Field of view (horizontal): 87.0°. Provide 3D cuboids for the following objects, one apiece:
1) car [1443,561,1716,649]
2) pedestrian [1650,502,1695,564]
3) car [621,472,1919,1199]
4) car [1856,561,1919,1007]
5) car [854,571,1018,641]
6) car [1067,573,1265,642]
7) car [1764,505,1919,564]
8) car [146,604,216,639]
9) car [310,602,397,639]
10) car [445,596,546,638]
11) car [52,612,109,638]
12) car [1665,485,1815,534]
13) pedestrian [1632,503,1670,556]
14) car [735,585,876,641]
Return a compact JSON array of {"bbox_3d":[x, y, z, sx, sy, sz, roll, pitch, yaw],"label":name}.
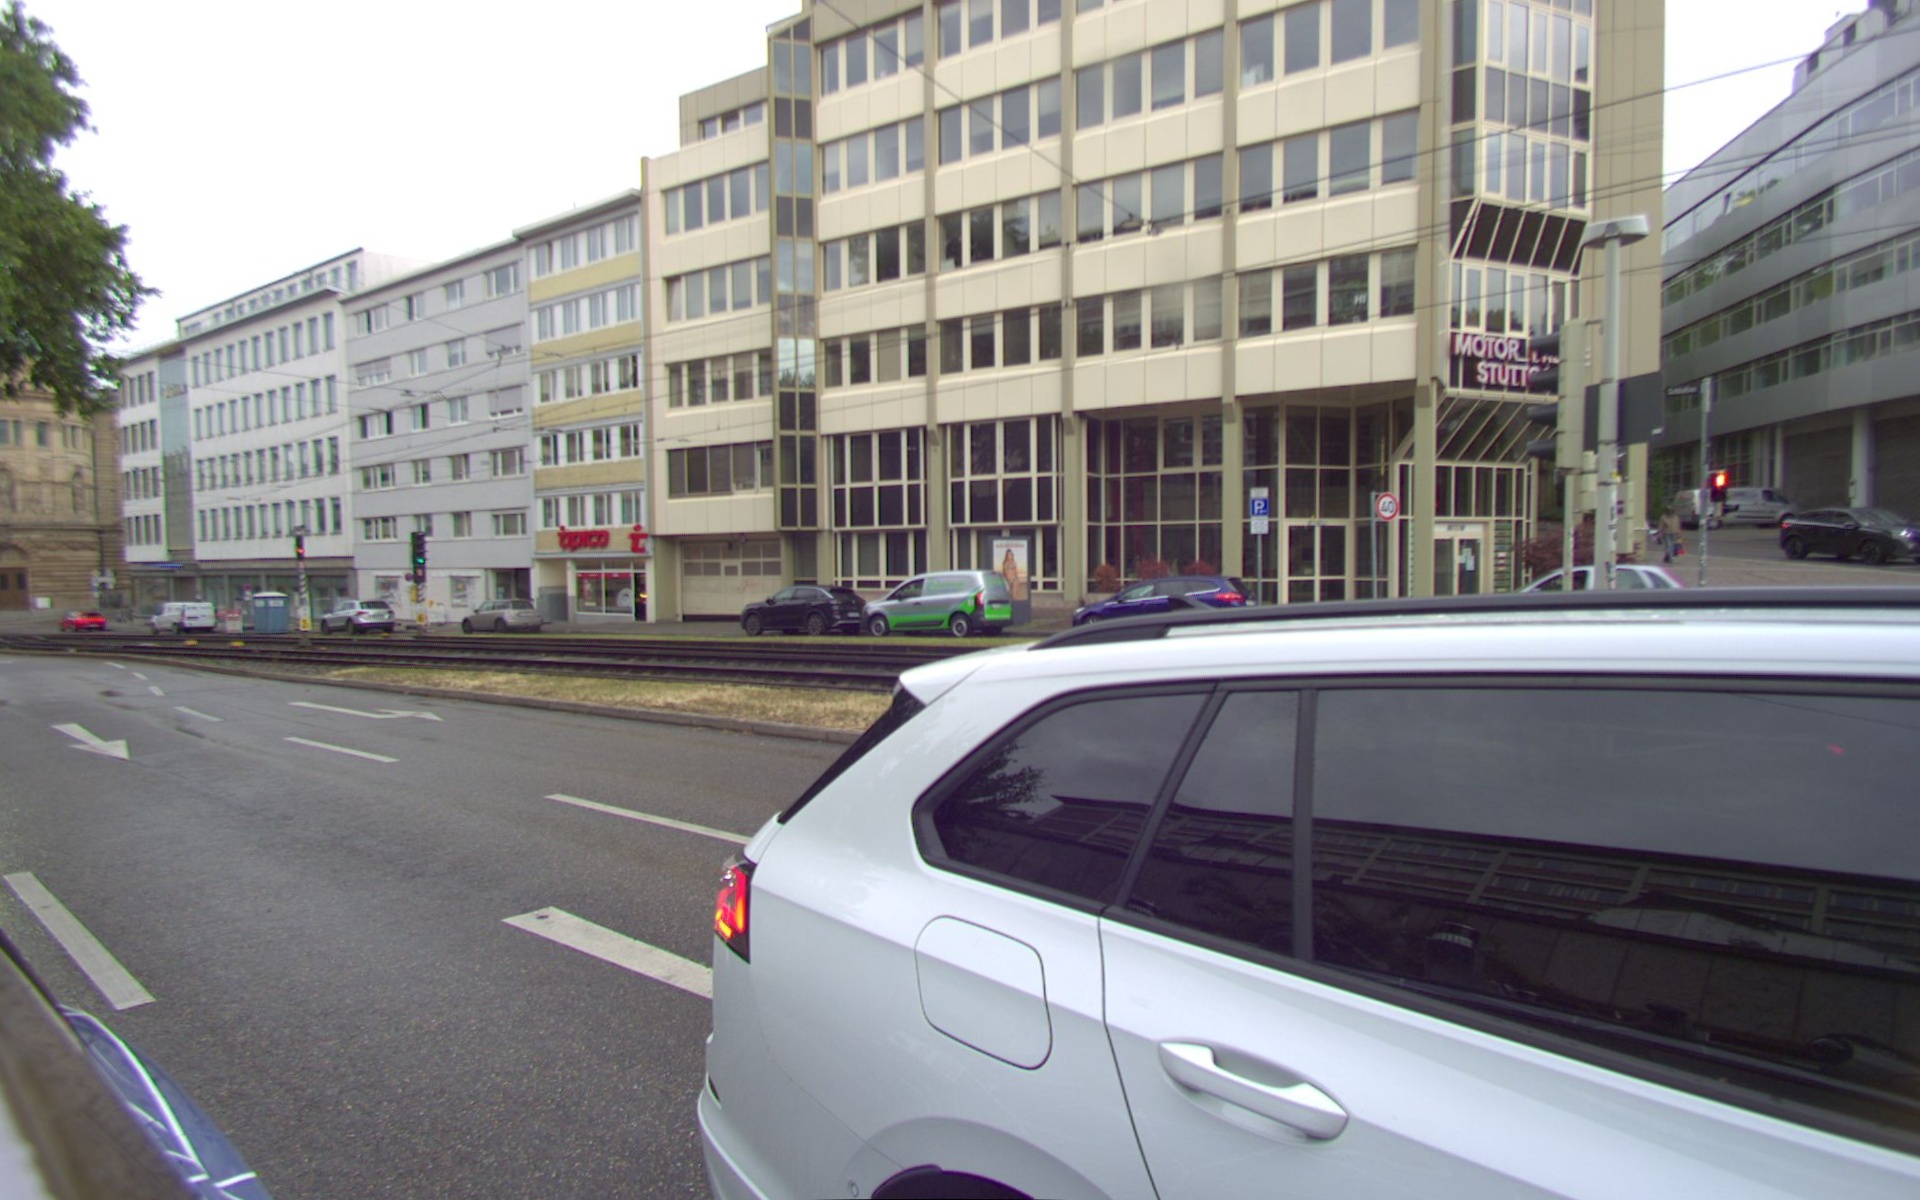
[{"bbox_3d":[10.561,0.094,17.564,3.854,1.367,1.617,-1,2,29],"label":"car"},{"bbox_3d":[21.415,-2.001,30.443,0.821,1.800,0.759,-2,3,6],"label":"pedestrian"},{"bbox_3d":[1.603,0.619,1.170,4.473,1.453,1.777,-1,0,41],"label":"car"},{"bbox_3d":[5.293,0.570,2.567,4.473,1.453,1.777,-1,0,41],"label":"car"},{"bbox_3d":[-0.682,0.162,27.873,4.204,1.759,1.782,-1,3,33],"label":"car"},{"bbox_3d":[4.810,0.185,23.859,4.207,1.488,1.780,-1,0,35],"label":"car"},{"bbox_3d":[27.508,-2.059,31.020,1.974,1.591,4.884,-2,5,3],"label":"car"},{"bbox_3d":[-46.555,1.277,60.464,4.465,1.949,1.869,-1,3,34],"label":"car"},{"bbox_3d":[-28.316,0.938,47.220,4.066,1.524,1.869,-1,3,34],"label":"car"},{"bbox_3d":[-18.720,0.656,40.717,4.066,1.524,1.782,-1,3,34],"label":"car"},{"bbox_3d":[-62.212,1.765,71.570,4.465,1.636,1.869,-1,3,34],"label":"car"},{"bbox_3d":[37.621,-4.359,48.944,5.357,2.029,1.993,-1,0,12],"label":"car"},{"bbox_3d":[22.481,-2.285,32.935,0.711,1.651,0.759,-2,3,6],"label":"pedestrian"},{"bbox_3d":[-4.723,0.371,30.764,4.066,1.524,1.782,-1,3,34],"label":"car"}]
